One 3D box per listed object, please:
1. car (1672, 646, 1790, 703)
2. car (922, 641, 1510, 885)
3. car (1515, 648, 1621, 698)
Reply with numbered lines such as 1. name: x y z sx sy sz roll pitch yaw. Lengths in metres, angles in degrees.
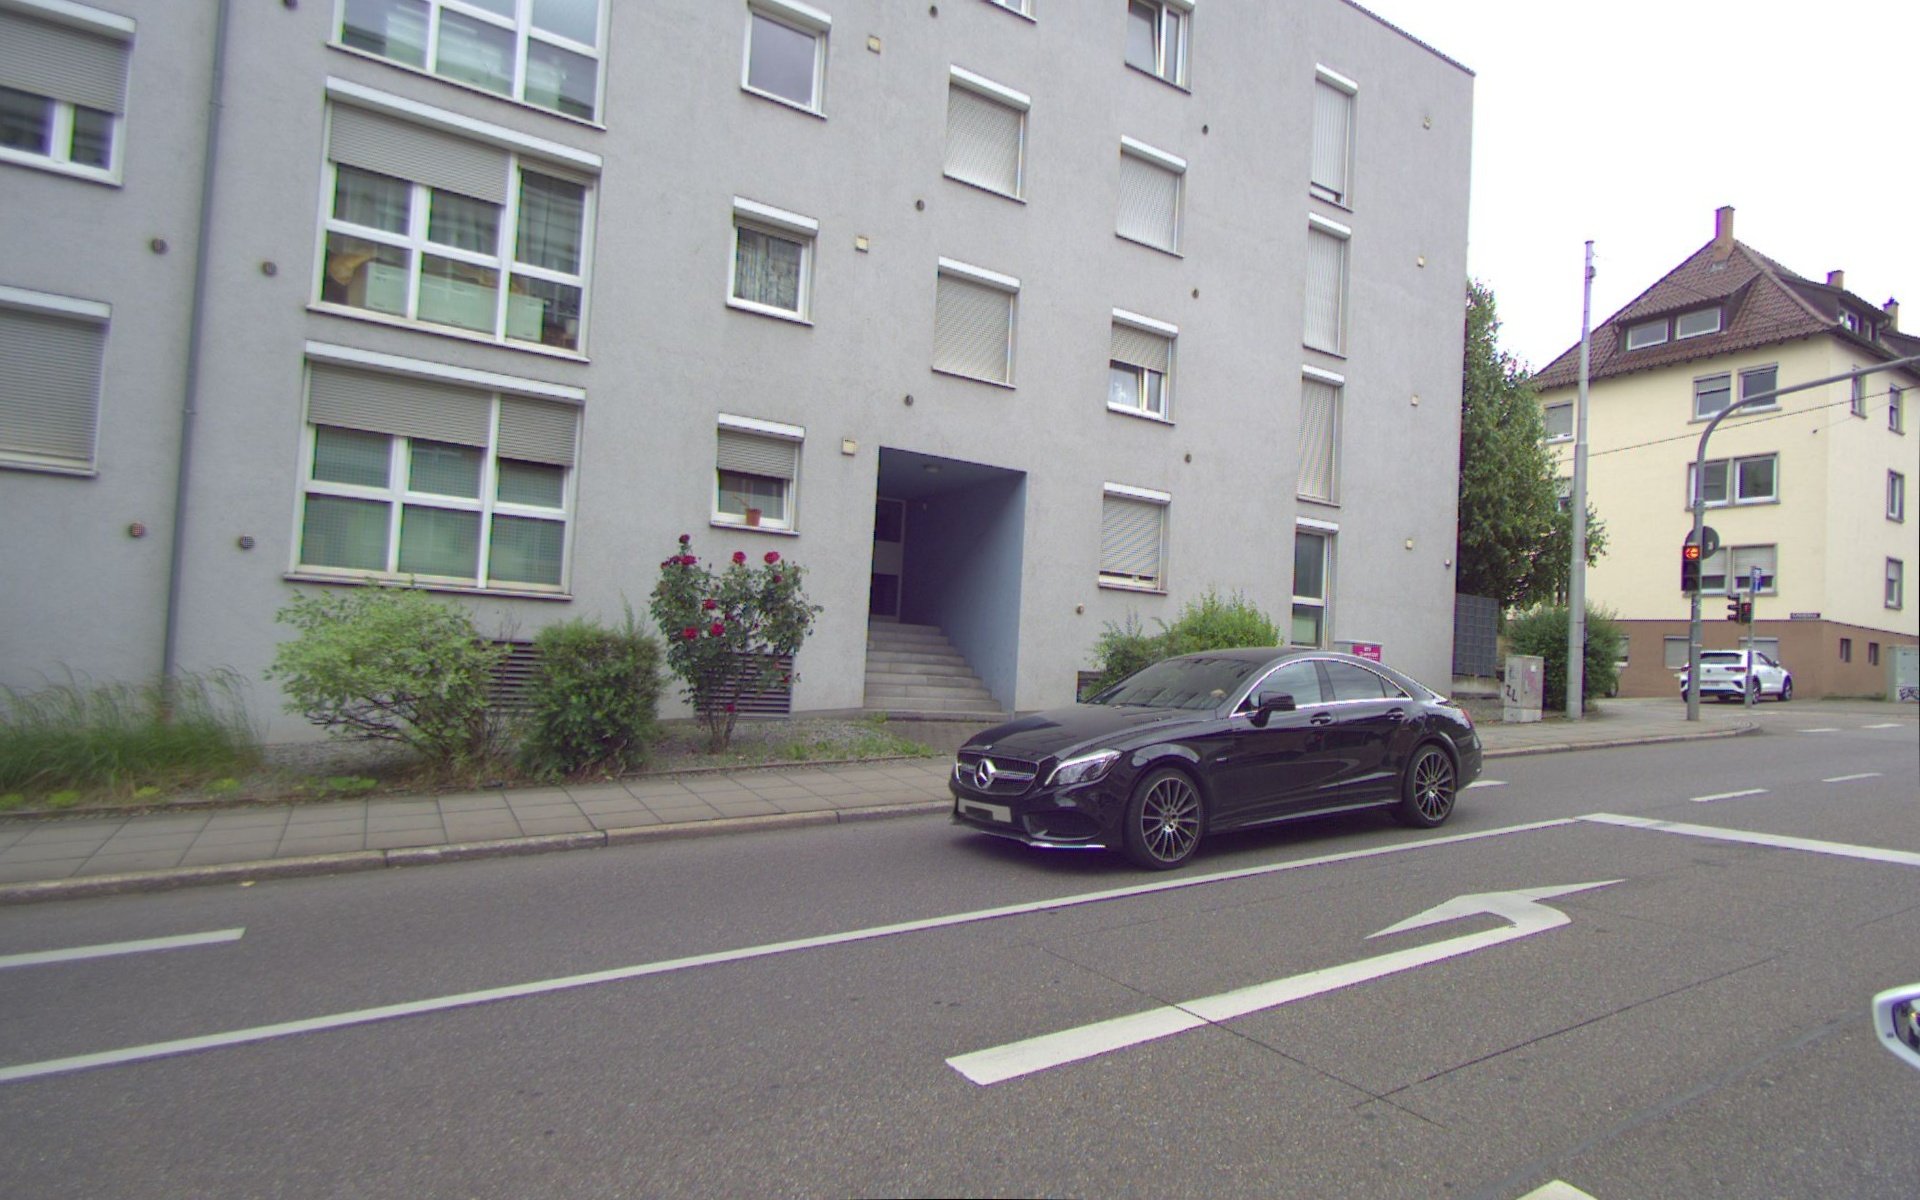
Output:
1. car: 23.047 2.194 30.002 3.727 1.575 1.681 1 -4 -34
2. car: 2.141 1.060 7.927 4.617 1.437 1.777 1 -4 -32
3. car: 20.930 2.480 34.534 3.727 1.629 1.681 1 -4 -34
